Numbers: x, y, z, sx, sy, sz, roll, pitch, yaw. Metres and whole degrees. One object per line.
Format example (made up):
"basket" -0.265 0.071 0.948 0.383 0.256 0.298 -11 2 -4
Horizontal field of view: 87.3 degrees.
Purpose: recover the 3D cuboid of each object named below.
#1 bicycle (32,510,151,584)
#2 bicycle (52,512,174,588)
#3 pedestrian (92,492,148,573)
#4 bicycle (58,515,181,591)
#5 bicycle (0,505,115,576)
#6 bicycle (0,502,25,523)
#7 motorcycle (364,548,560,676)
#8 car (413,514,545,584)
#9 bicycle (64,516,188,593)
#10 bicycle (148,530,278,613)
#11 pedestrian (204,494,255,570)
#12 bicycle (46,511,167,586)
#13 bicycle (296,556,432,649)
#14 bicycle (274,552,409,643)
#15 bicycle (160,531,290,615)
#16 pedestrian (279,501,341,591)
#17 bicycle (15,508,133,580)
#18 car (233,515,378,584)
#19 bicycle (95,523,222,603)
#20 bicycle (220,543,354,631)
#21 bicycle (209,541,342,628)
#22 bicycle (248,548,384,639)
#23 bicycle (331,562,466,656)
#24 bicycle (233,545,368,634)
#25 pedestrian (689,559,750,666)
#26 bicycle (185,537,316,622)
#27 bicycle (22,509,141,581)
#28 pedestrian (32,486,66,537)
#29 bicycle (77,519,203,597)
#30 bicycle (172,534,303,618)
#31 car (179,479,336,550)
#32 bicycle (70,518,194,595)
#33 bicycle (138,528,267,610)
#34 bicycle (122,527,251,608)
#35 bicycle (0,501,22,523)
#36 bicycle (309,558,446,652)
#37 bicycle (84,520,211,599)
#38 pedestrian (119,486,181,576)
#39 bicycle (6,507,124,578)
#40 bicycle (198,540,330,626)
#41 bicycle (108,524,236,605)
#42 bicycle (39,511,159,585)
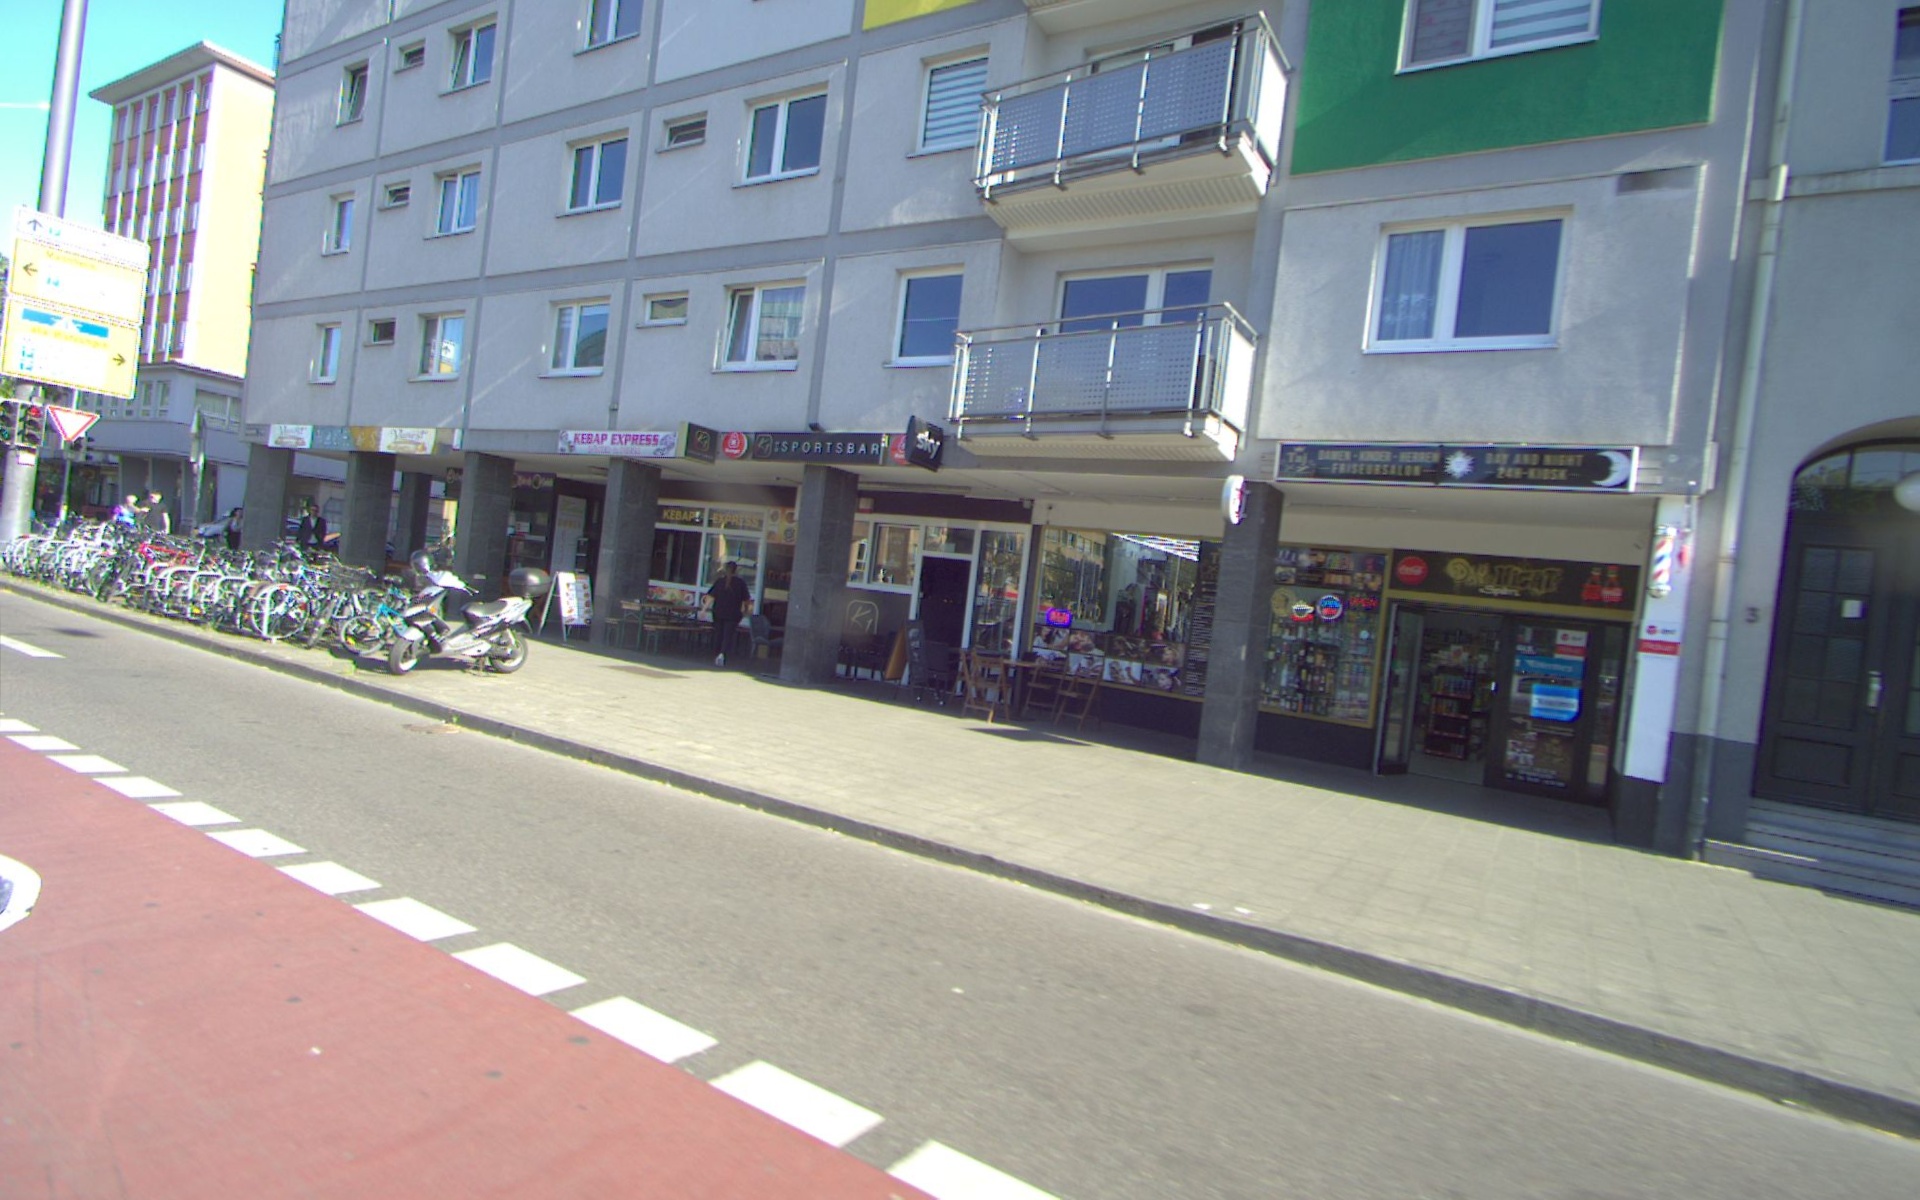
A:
"bicycle" -14.767 -0.882 17.136 0.253 1.080 1.466 7 1 33
"bicycle" -13.928 -0.801 16.581 0.253 1.080 1.466 7 1 33
"pedestrian" -21.013 -1.690 25.167 0.823 1.877 0.905 9 -1 -44
"bicycle" -13.672 -0.748 16.404 0.253 1.080 1.466 7 1 33
"bicycle" -16.010 -1.037 17.865 0.253 1.080 1.466 7 1 33
"bicycle" -56.007 -5.203 58.425 2.306 1.080 0.551 9 -2 -36
"motorcycle" -5.669 0.175 11.559 0.642 1.317 1.855 7 1 34
"car" -20.957 -2.203 44.024 2.153 2.237 4.601 7 -2 33
"bicycle" -13.422 -0.708 16.223 0.253 1.080 1.466 7 1 33
"bicycle" -10.942 -0.399 14.780 0.253 1.080 1.466 7 1 33
"pedestrian" -21.053 -1.964 28.994 0.875 2.037 0.901 8 -1 -44
"bicycle" -14.181 -0.835 16.747 0.253 1.080 1.466 7 1 33
"bicycle" -7.582 0.056 12.856 0.253 1.080 1.466 7 1 33
"bicycle" -8.057 -0.009 13.168 0.253 1.080 1.466 7 1 33
"bicycle" -10.633 -0.364 14.596 0.253 1.080 1.466 7 1 33
"pedestrian" -15.894 -1.320 24.589 0.877 2.037 0.843 7 -1 41
"bicycle" -15.418 -0.954 17.543 0.253 1.080 1.466 7 1 33
"car" -26.546 -2.022 40.937 1.940 2.036 4.369 7 -2 33
"bicycle" -12.338 -0.554 15.536 0.253 1.080 1.466 7 1 33
"bicycle" -9.163 -0.158 13.753 0.253 1.080 1.466 7 1 33
"bicycle" -9.450 -0.190 13.931 0.253 1.080 1.466 7 1 33
"bicycle" -8.477 -0.063 13.296 0.253 1.080 1.466 7 1 33
"bicycle" -6.905 0.138 12.439 0.253 1.080 1.467 7 1 29
"bicycle" -8.855 -0.113 13.560 0.253 1.080 1.466 7 1 33
"pedestrian" -3.747 0.199 15.694 0.565 1.603 0.555 7 3 32
"bicycle" -10.037 -0.269 14.284 0.253 1.080 1.466 7 1 33
"bicycle" -15.088 -0.925 17.313 0.253 1.080 1.466 7 1 33
"pedestrian" -37.362 -3.629 41.260 0.693 1.941 0.708 7 -1 35
"bicycle" -12.901 -0.636 15.863 0.253 1.080 1.466 7 1 33
"bicycle" -10.338 -0.321 14.436 0.253 1.080 1.466 7 1 33
"car" -29.300 -3.530 42.096 2.222 2.036 4.738 7 -2 33
"bicycle" -13.153 -0.669 16.021 0.253 1.080 1.466 7 1 33
"bicycle" -11.229 -0.433 14.953 0.253 1.080 1.466 7 1 33
"bicycle" -11.607 -0.468 15.137 0.253 1.080 1.466 7 1 33
"bicycle" -55.647 -5.184 57.908 2.306 1.080 0.551 9 -2 -36
"bicycle" -7.299 0.089 12.666 0.253 1.080 1.466 7 1 33
"bicycle" -12.643 -0.604 15.697 0.253 1.080 1.466 7 1 33
"pedestrian" -19.527 -1.664 24.244 0.857 2.037 0.791 7 -1 38
"bicycle" -15.695 -0.995 17.677 0.253 1.080 1.466 7 1 33
"bicycle" -9.721 -0.217 14.094 0.253 1.080 1.466 7 1 33
"bicycle" -11.968 -0.517 15.324 0.253 1.080 1.466 7 1 33
"bicycle" -14.450 -0.852 16.921 0.253 1.080 1.466 7 1 33
